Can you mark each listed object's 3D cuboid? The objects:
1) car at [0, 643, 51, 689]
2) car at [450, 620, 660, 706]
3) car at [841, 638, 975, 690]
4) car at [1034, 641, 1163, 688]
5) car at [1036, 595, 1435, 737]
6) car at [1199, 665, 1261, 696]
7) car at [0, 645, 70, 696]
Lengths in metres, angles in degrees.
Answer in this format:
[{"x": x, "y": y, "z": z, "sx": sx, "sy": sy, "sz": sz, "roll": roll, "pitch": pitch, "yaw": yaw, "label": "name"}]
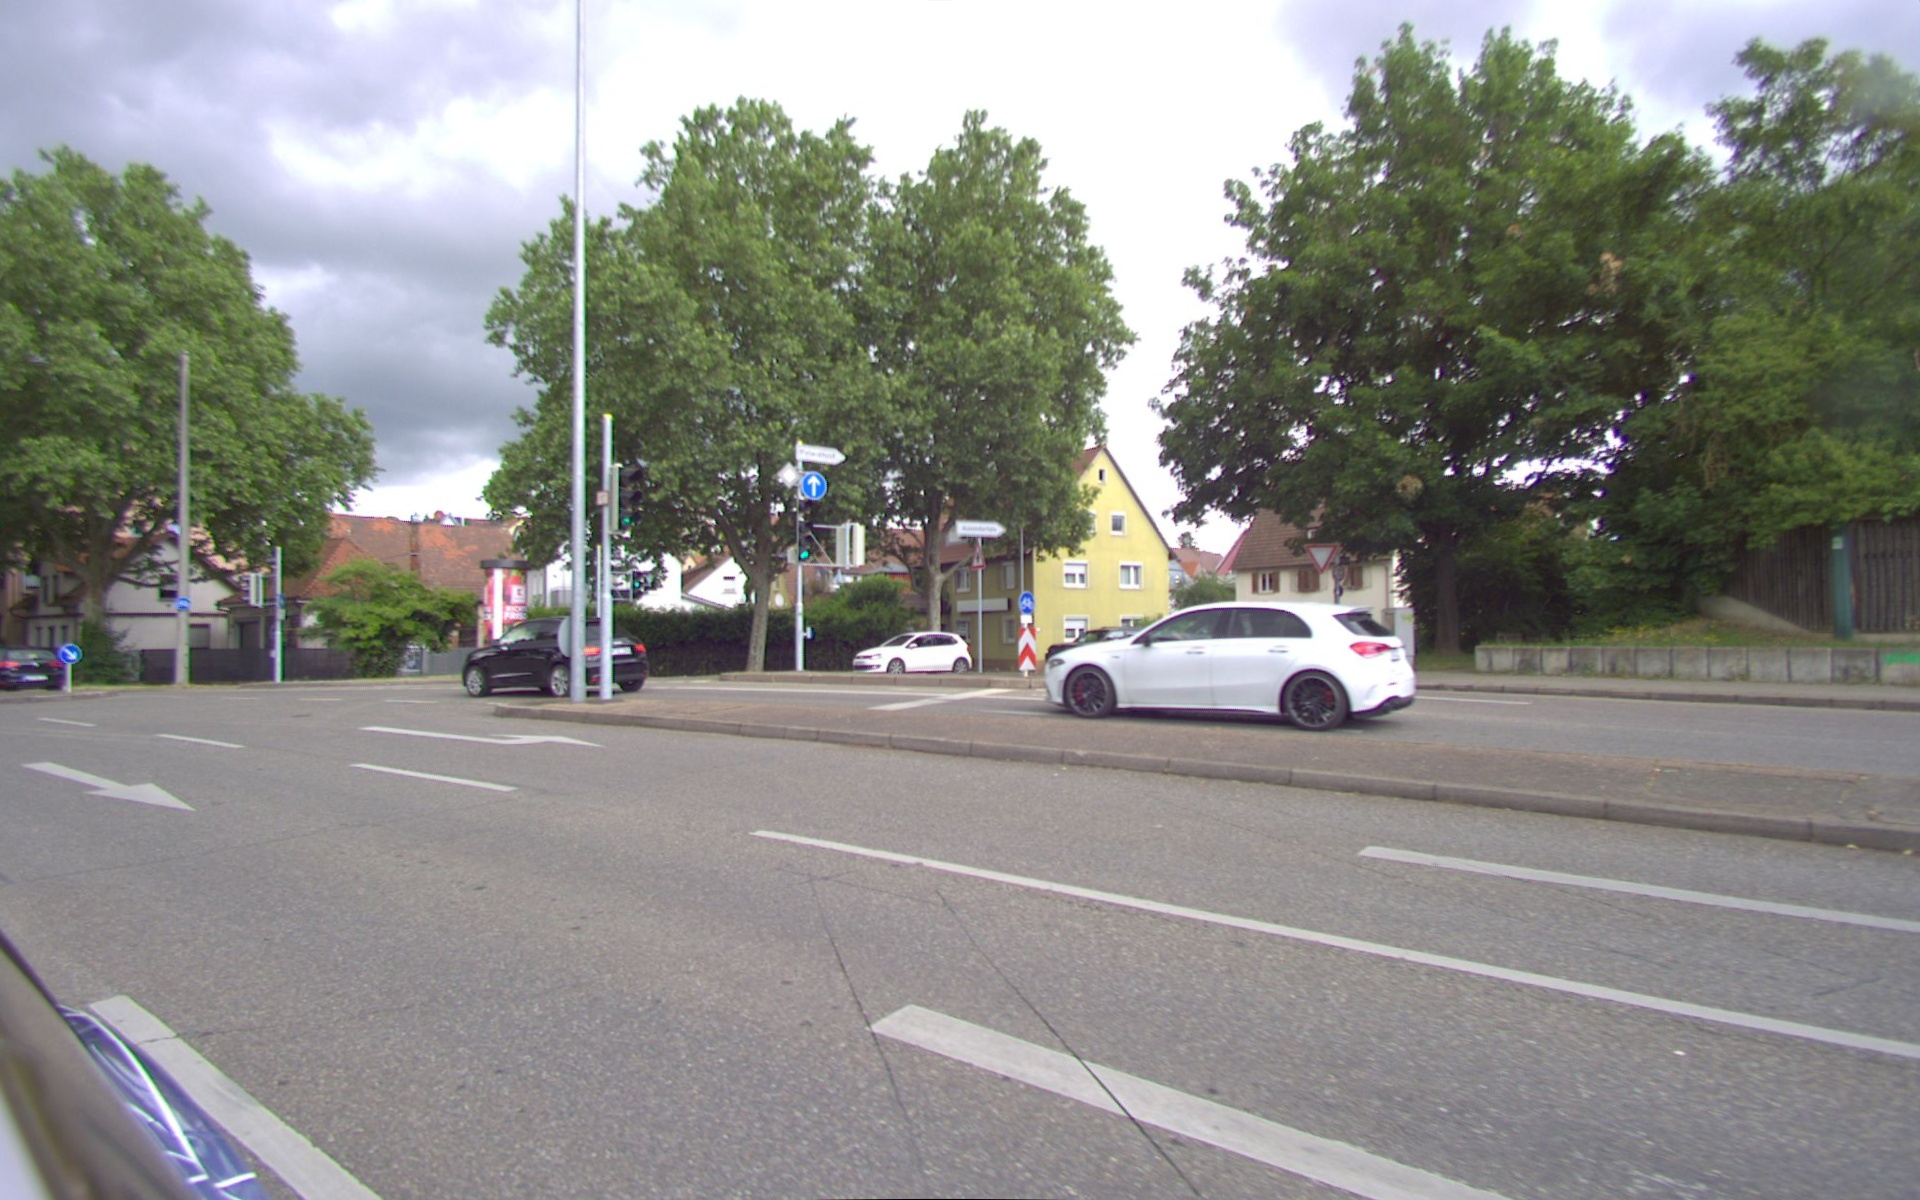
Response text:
[{"x": -42.198, "y": 2.777, "z": 42.856, "sx": 2.063, "sy": 1.946, "sz": 5.220, "roll": -1, "pitch": -4, "yaw": 13, "label": "car"}, {"x": -7.441, "y": 1.122, "z": 18.489, "sx": 3.882, "sy": 1.427, "sz": 1.604, "roll": -2, "pitch": -2, "yaw": 32, "label": "car"}, {"x": -1.610, "y": 1.965, "z": 31.718, "sx": 3.791, "sy": 1.491, "sz": 1.830, "roll": 1, "pitch": -3, "yaw": -36, "label": "car"}, {"x": 4.906, "y": 2.220, "z": 35.702, "sx": 4.197, "sy": 1.557, "sz": 2.006, "roll": 2, "pitch": -3, "yaw": -32, "label": "car"}, {"x": 3.135, "y": 0.739, "z": 12.007, "sx": 4.284, "sy": 1.416, "sz": 1.586, "roll": -2, "pitch": -3, "yaw": 37, "label": "car"}, {"x": 14.440, "y": 4.293, "z": 54.225, "sx": 1.440, "sy": 1.507, "sz": 2.936, "roll": 0, "pitch": -3, "yaw": -33, "label": "car"}, {"x": -28.245, "y": 2.047, "z": 29.712, "sx": 4.287, "sy": 1.376, "sz": 1.668, "roll": -2, "pitch": -2, "yaw": 26, "label": "car"}]
